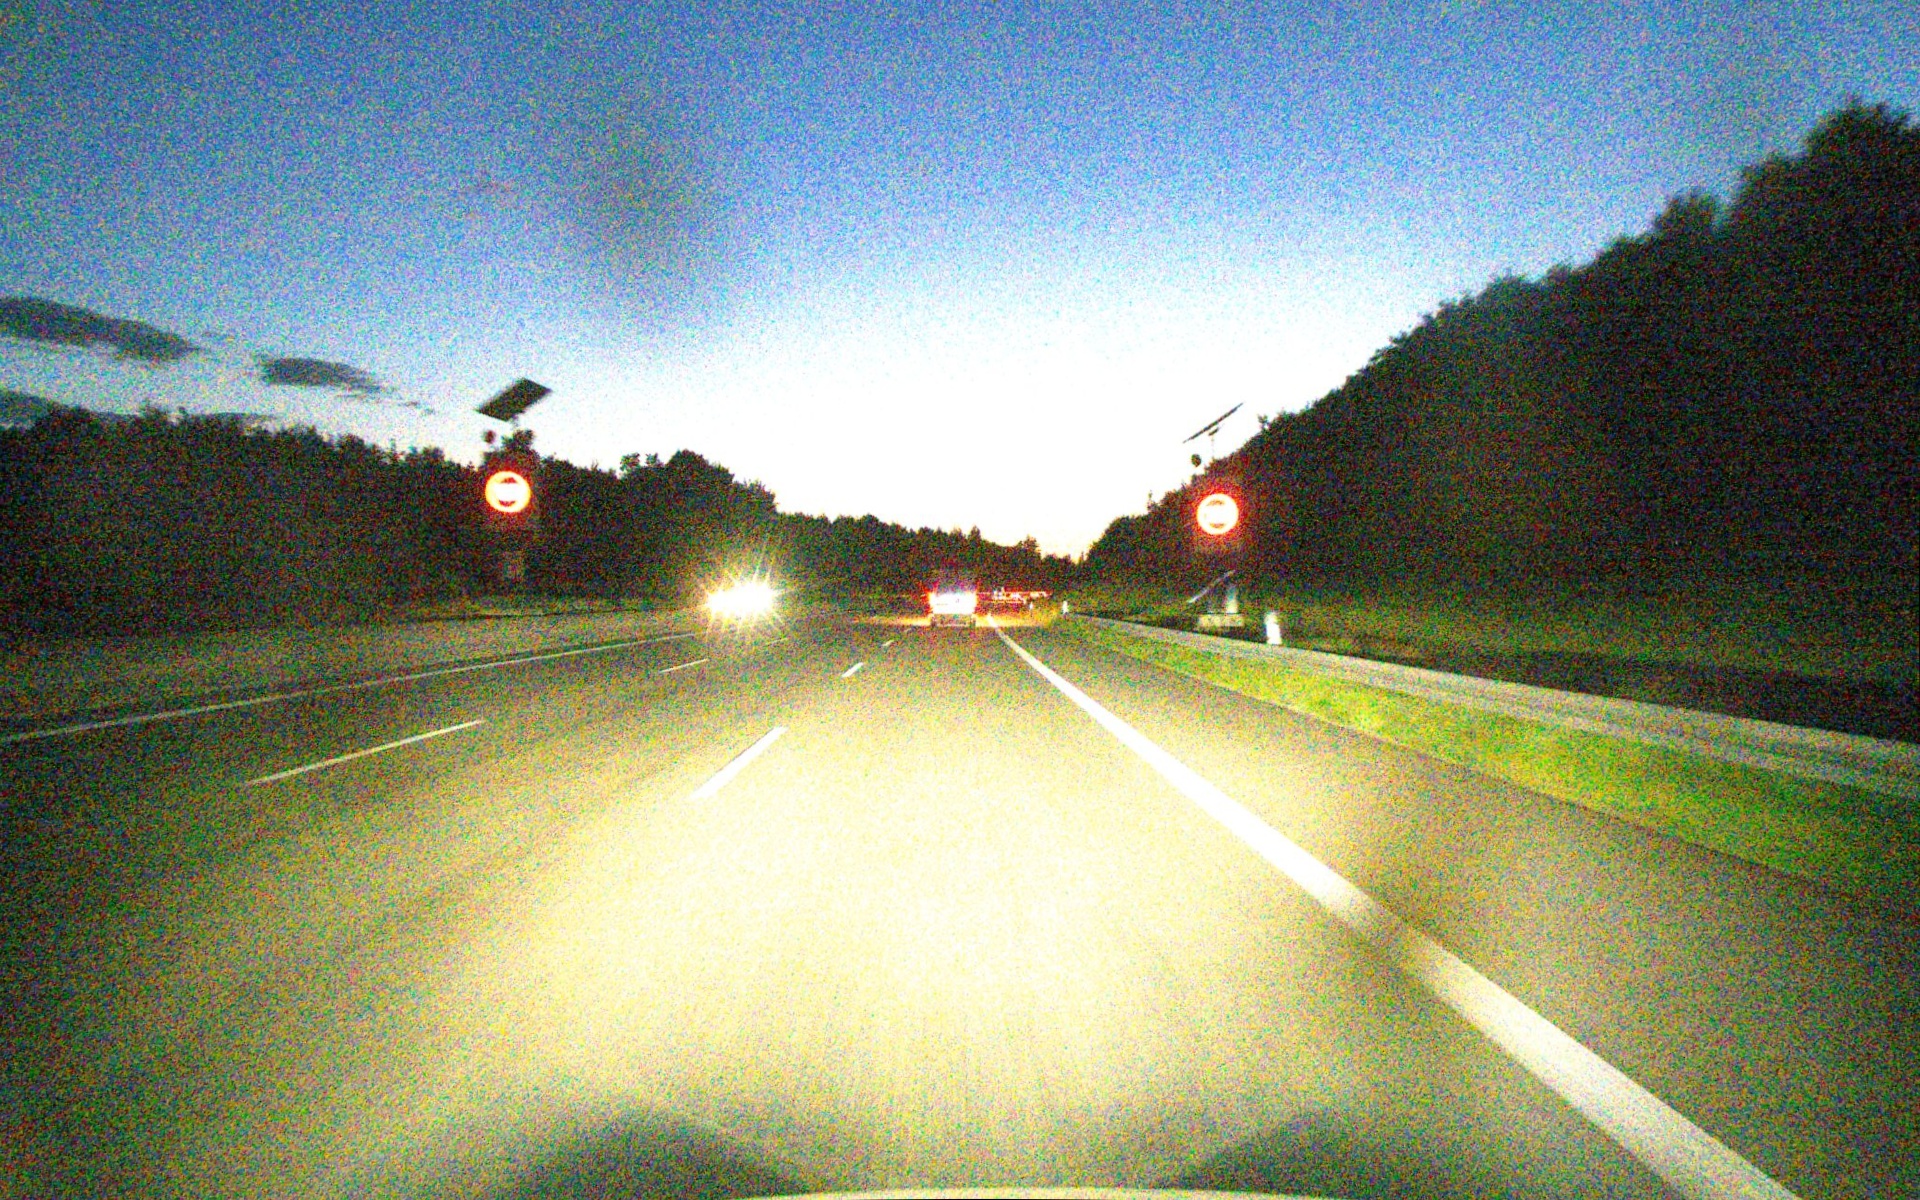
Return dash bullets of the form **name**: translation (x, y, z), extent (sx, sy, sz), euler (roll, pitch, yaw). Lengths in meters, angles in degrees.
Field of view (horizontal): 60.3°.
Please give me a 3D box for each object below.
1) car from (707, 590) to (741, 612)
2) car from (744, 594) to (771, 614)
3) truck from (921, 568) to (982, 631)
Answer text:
- **car**: translation (-18.048, 0.118, 126.666), extent (1.953, 1.630, 4.212), euler (1, 0, -1)
- **car**: translation (-20.844, 0.429, 170.431), extent (1.984, 2.049, 5.188), euler (1, 0, 2)
- **truck**: translation (-0.434, 0.012, 74.860), extent (2.577, 2.670, 8.682), euler (1, 0, -1)
